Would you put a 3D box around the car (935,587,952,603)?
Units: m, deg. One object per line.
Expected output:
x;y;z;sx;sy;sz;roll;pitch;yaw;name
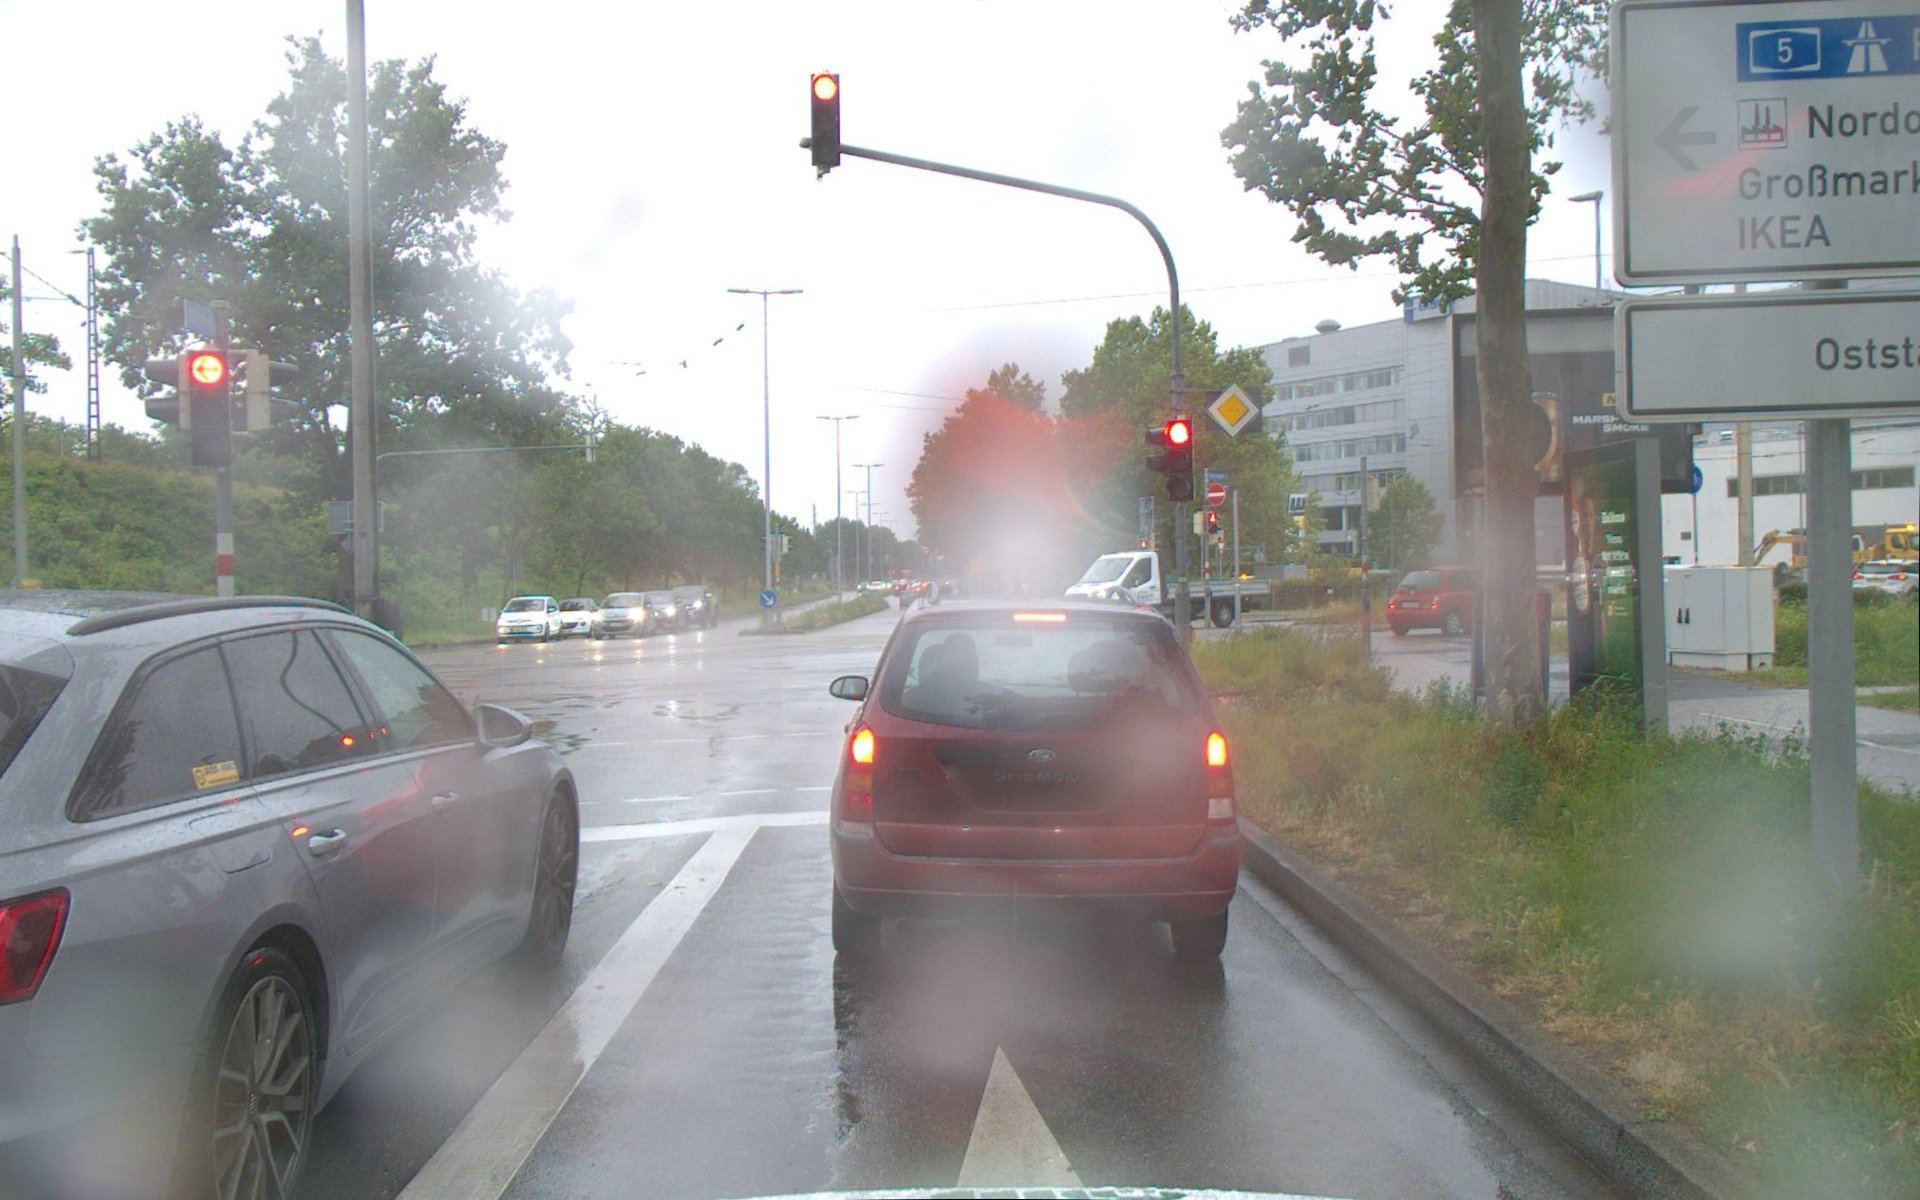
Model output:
-1.619;-0.555;166.204;1.636;1.554;3.846;-1;0;1;car

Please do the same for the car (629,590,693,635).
-11.361;0.461;63.078;1.727;1.614;4.811;-2;0;-2;car

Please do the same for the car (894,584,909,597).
-7.130;-1.154;202.372;1.663;1.554;3.846;-1;0;1;car

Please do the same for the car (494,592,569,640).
-14.174;0.492;54.882;1.605;1.478;3.785;-2;1;-3;car

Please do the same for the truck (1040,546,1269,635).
5.698;-0.322;47.747;6.795;2.406;2.449;-1;0;-37;truck

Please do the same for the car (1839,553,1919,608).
29.342;-0.604;51.292;4.575;1.614;1.902;-1;0;-37;car

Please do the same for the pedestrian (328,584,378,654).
-16.662;0.508;45.433;1.083;1.879;1.127;-1;0;-13;pedestrian

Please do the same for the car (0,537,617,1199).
-2.308;0.671;4.802;1.733;1.601;4.819;1;0;-2;car

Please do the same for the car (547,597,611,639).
-14.074;0.633;61.210;1.558;1.428;3.822;-2;1;-2;car

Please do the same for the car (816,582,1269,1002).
0.245;0.675;7.807;1.609;1.490;3.731;1;0;-2;car

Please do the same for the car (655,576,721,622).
-11.633;-0.055;71.141;2.024;1.851;5.539;-2;1;-2;car

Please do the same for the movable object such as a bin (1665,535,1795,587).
48.340;-2.426;103.968;3.292;3.048;6.634;-2;0;-36;movable object such as a bin

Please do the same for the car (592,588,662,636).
-11.238;0.368;55.972;1.605;1.499;3.964;-2;1;-1;car

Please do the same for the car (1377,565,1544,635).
11.448;-0.018;37.766;3.769;1.517;1.659;0;0;-33;car

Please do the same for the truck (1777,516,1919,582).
52.793;-2.952;97.356;3.292;3.568;7.789;-2;0;-36;truck

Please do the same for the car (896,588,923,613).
-3.848;0.060;125.867;1.954;1.822;3.997;1;0;-3;car

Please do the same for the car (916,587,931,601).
-4.251;-0.681;193.949;1.663;1.554;3.846;-1;0;0;car
